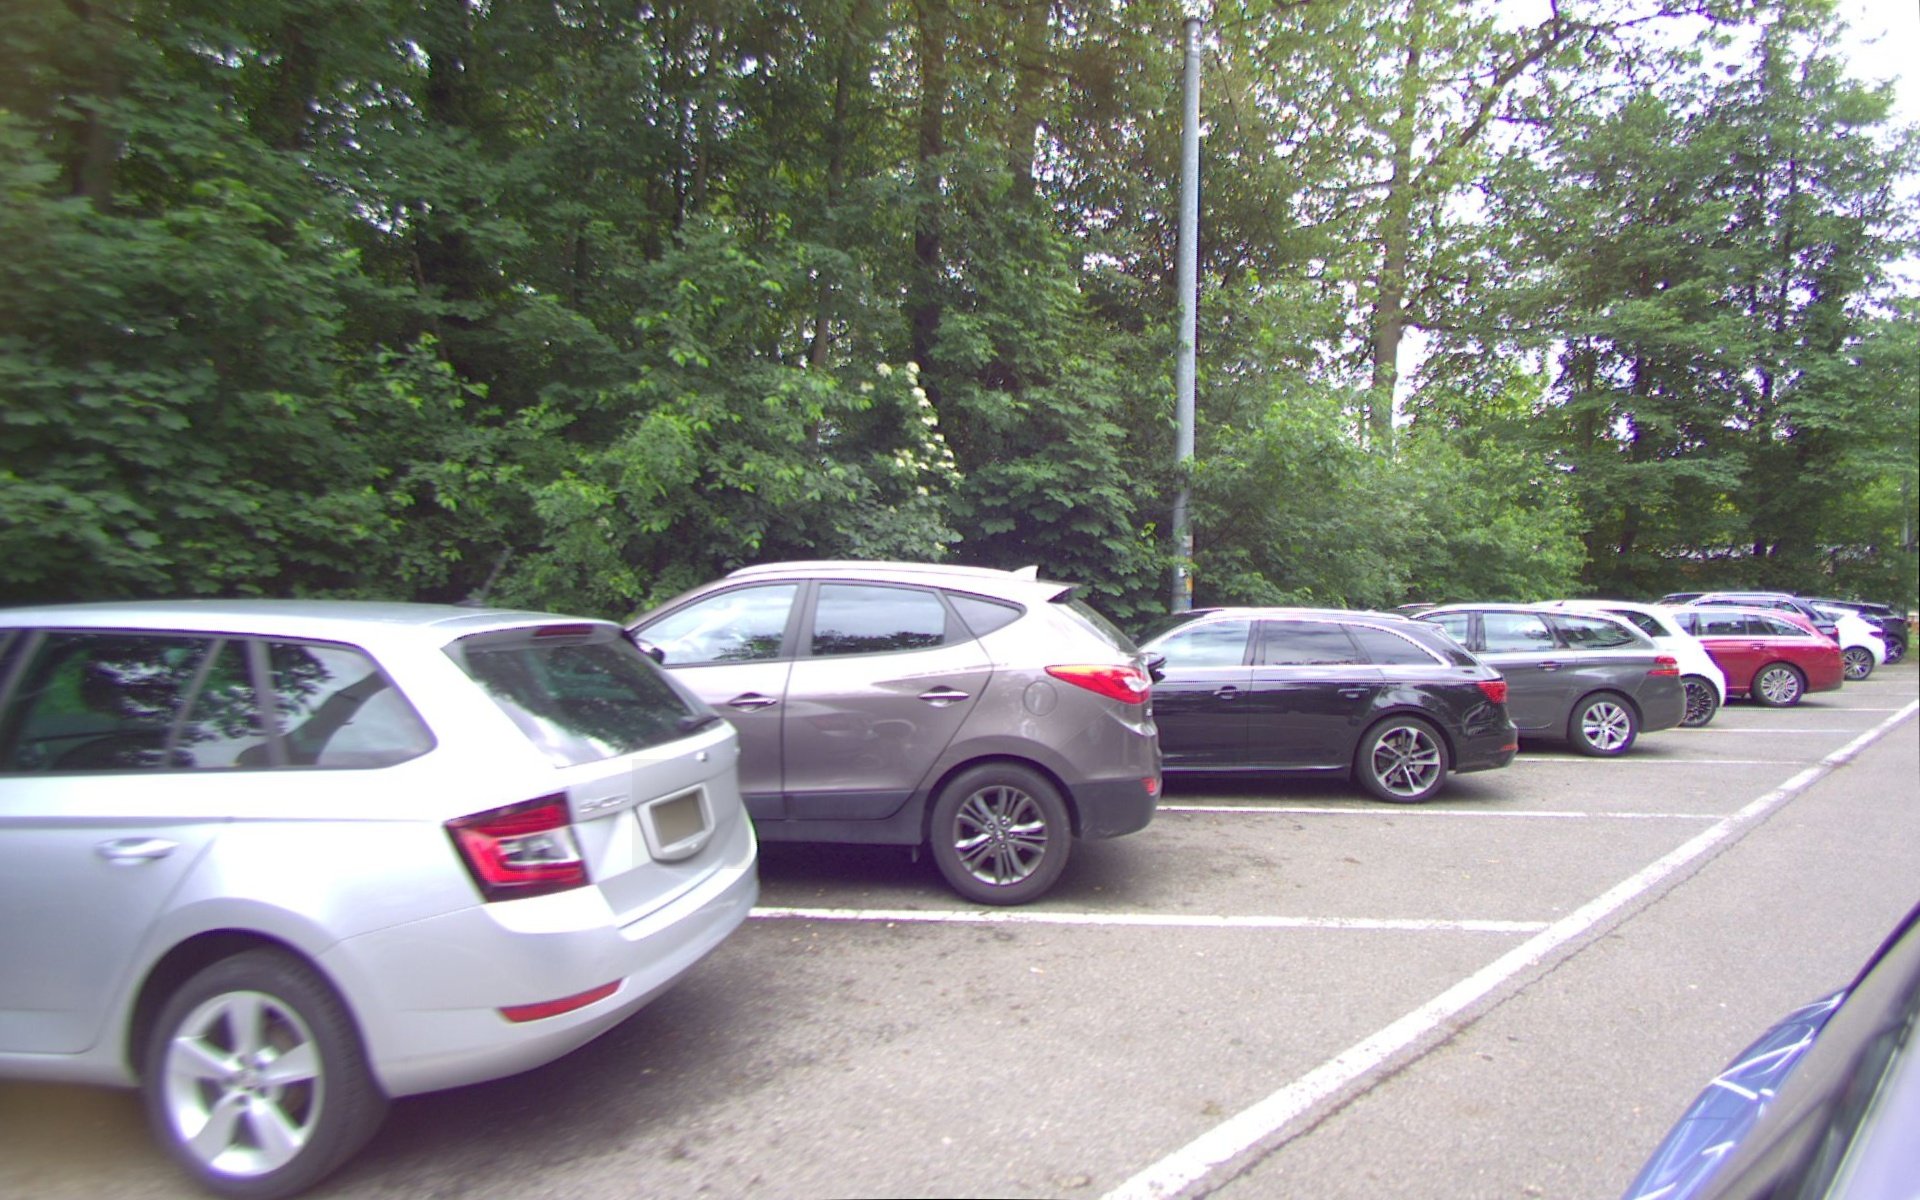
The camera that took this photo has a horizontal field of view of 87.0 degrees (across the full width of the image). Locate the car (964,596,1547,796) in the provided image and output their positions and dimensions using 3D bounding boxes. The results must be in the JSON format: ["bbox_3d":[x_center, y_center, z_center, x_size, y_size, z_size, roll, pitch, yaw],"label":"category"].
[{"bbox_3d":[2.157,0.685,8.355,4.184,1.395,1.964,1,0,3],"label":"car"}]

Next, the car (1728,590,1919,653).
[{"bbox_3d":[21.684,0.504,25.215,3.723,1.511,1.698,0,0,4],"label":"car"}]

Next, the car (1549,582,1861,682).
[{"bbox_3d":[13.051,0.516,17.972,4.050,1.638,1.838,0,0,8],"label":"car"}]

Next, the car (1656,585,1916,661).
[{"bbox_3d":[18.336,0.485,22.631,4.126,1.600,1.957,0,0,3],"label":"car"}]

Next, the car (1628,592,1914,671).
[{"bbox_3d":[16.051,0.585,20.248,4.050,1.457,1.866,0,0,8],"label":"car"}]

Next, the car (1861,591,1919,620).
[{"bbox_3d":[52.684,0.274,57.349,1.987,1.571,3.950,1,1,35],"label":"car"}]

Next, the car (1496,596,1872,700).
[{"bbox_3d":[10.833,0.663,15.471,4.225,1.431,1.923,0,0,9],"label":"car"}]

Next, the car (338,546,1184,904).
[{"bbox_3d":[-0.975,0.565,5.904,4.187,1.657,1.963,1,0,5],"label":"car"}]

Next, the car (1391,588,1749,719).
[{"bbox_3d":[7.679,0.622,13.052,3.521,1.524,1.732,1,0,7],"label":"car"}]

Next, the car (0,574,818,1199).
[{"bbox_3d":[-2.657,0.667,3.492,3.934,1.485,1.830,1,0,9],"label":"car"}]

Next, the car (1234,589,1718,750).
[{"bbox_3d":[5.158,0.647,10.621,4.112,1.476,1.803,1,0,5],"label":"car"}]
